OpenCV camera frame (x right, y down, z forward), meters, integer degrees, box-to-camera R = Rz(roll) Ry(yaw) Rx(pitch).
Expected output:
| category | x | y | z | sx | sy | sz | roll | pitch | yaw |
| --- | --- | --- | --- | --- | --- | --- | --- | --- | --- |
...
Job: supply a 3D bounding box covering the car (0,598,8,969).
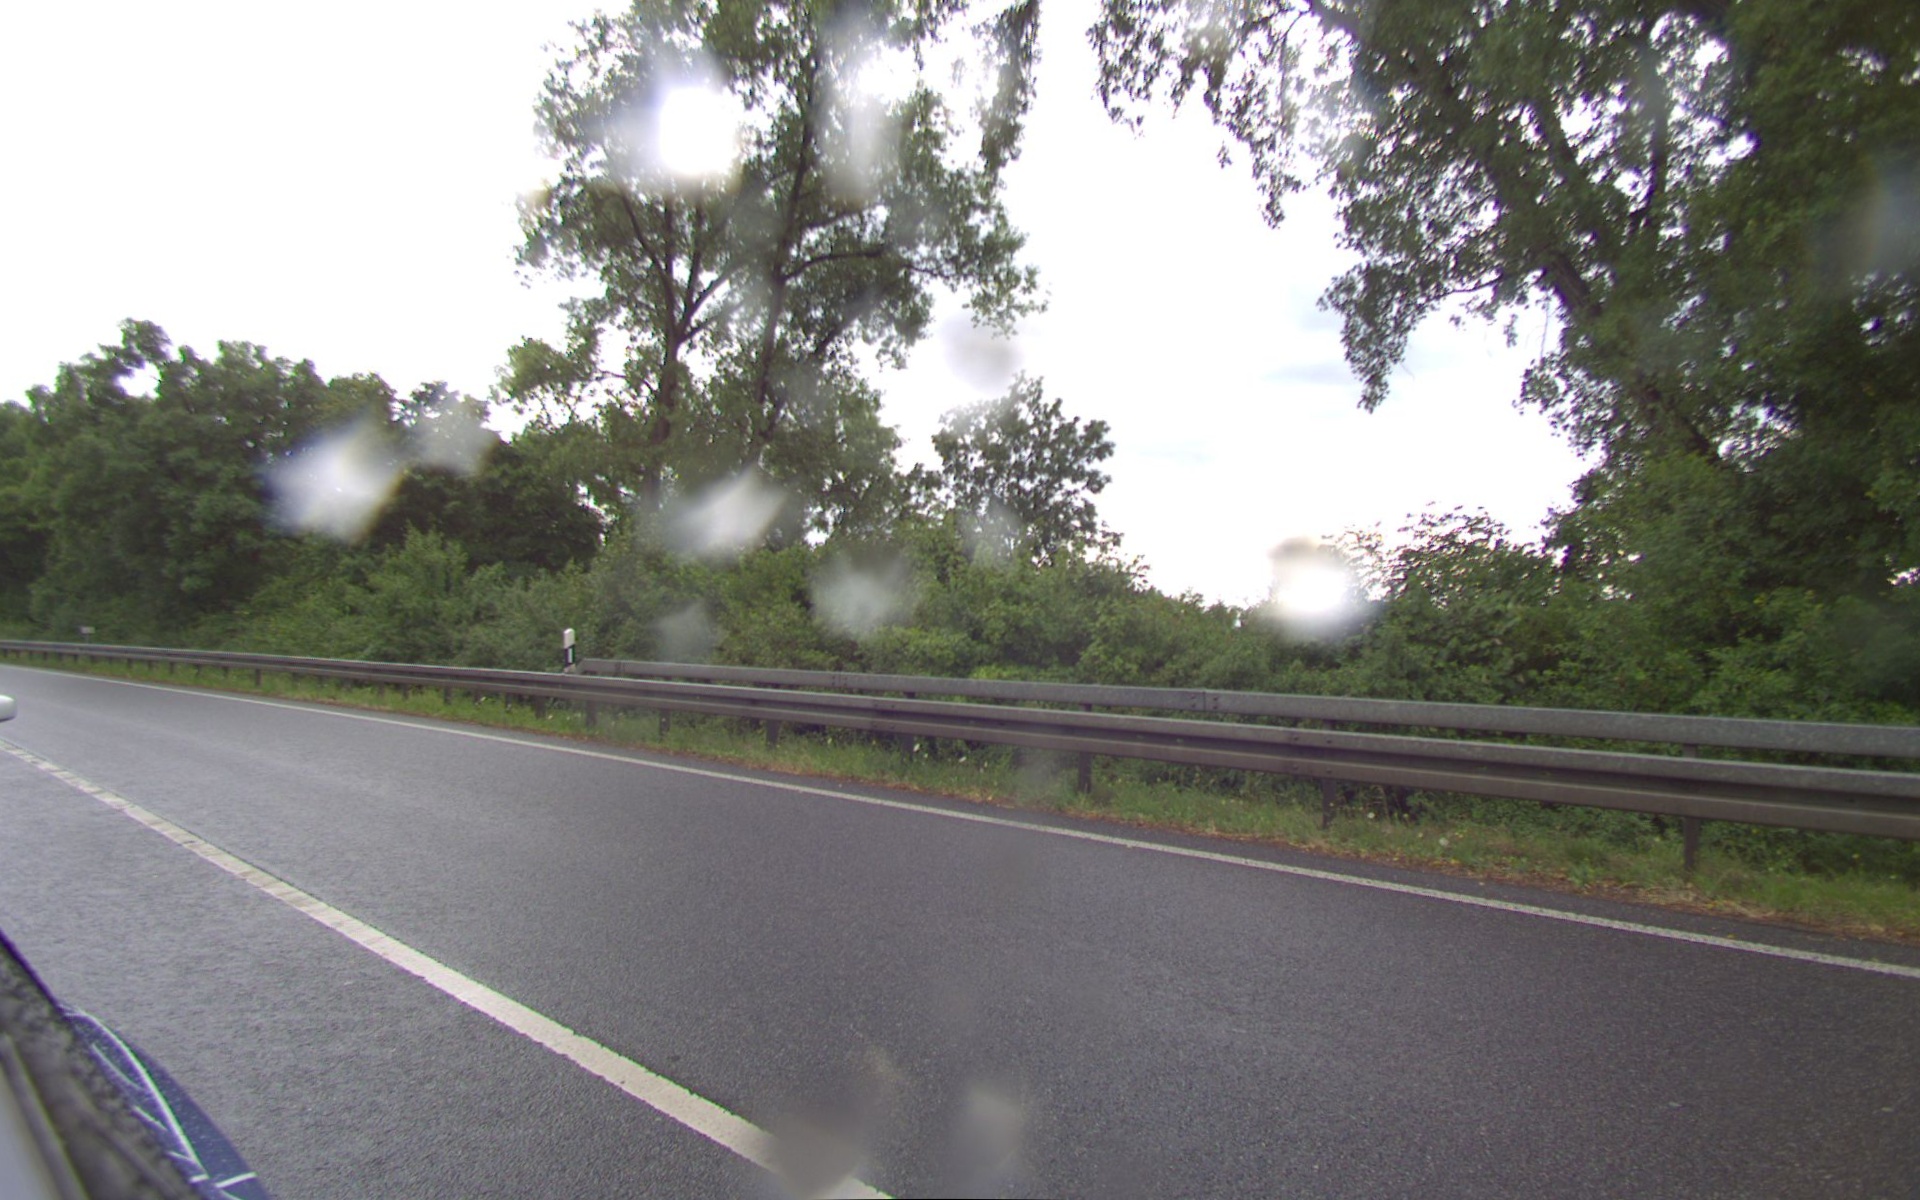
| category | x | y | z | sx | sy | sz | roll | pitch | yaw |
| --- | --- | --- | --- | --- | --- | --- | --- | --- | --- |
| car | -5.930 | 0.769 | 4.796 | 4.061 | 1.491 | 1.679 | -1 | -1 | 41 |
